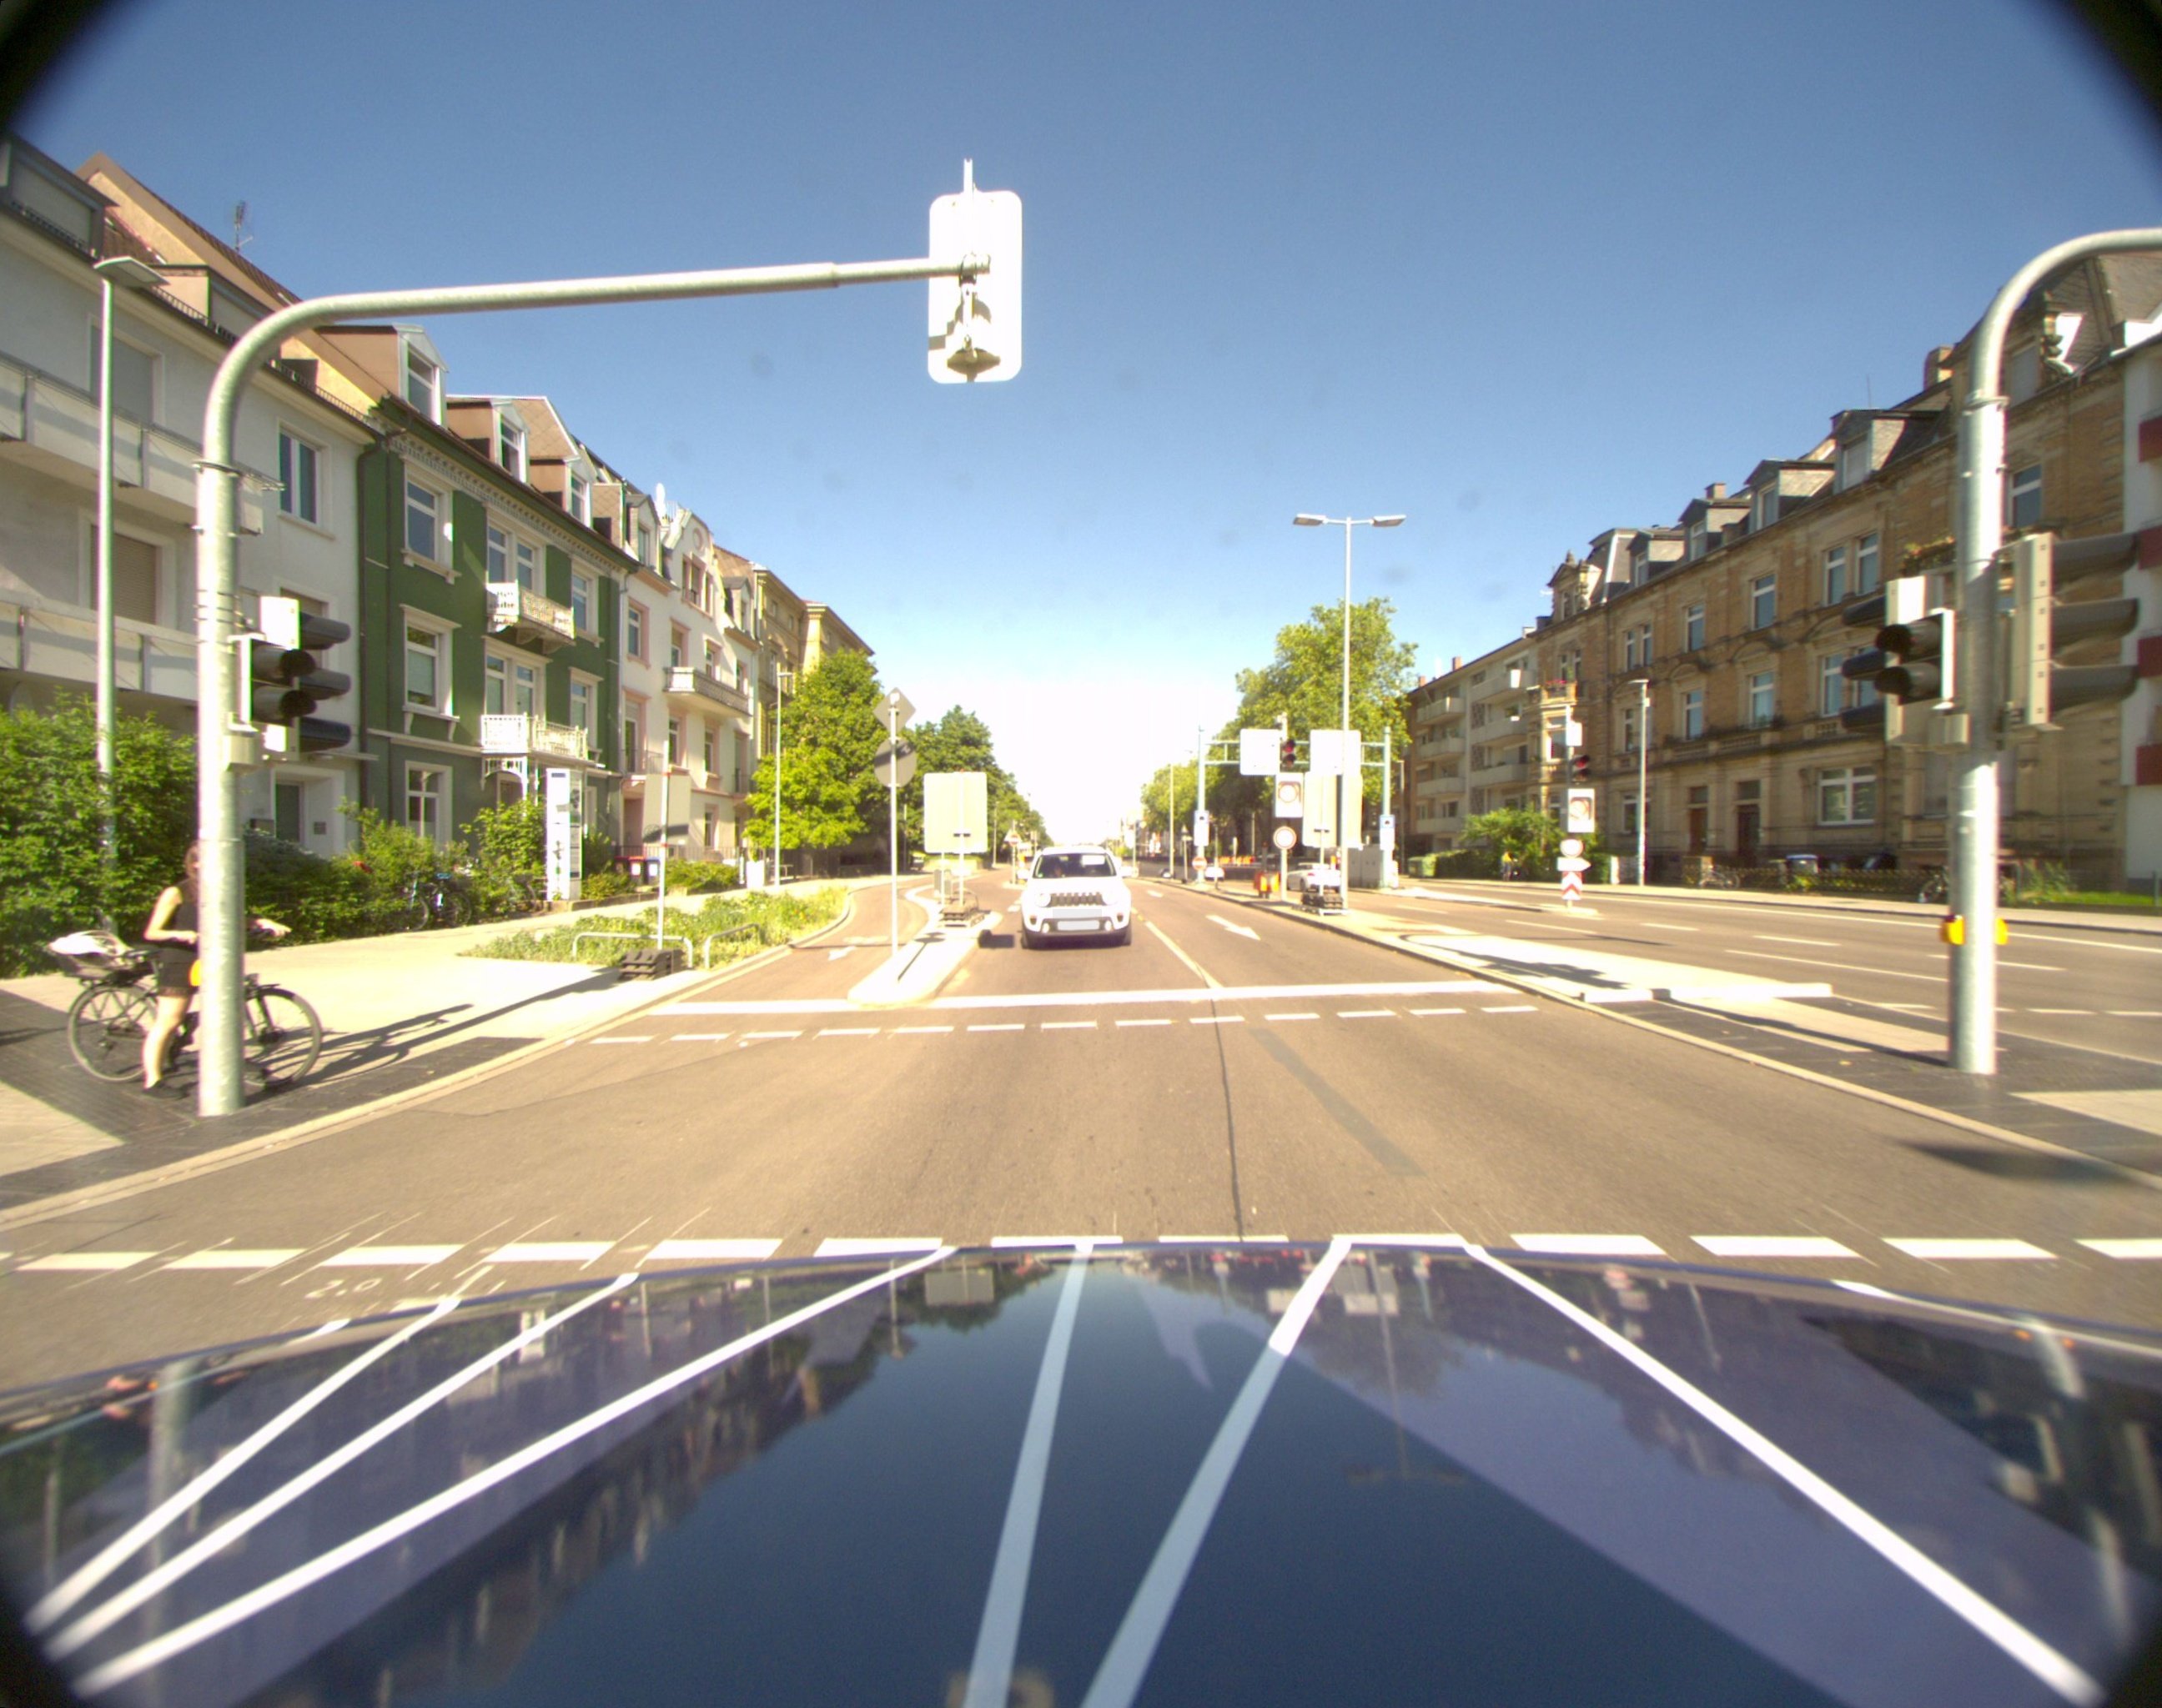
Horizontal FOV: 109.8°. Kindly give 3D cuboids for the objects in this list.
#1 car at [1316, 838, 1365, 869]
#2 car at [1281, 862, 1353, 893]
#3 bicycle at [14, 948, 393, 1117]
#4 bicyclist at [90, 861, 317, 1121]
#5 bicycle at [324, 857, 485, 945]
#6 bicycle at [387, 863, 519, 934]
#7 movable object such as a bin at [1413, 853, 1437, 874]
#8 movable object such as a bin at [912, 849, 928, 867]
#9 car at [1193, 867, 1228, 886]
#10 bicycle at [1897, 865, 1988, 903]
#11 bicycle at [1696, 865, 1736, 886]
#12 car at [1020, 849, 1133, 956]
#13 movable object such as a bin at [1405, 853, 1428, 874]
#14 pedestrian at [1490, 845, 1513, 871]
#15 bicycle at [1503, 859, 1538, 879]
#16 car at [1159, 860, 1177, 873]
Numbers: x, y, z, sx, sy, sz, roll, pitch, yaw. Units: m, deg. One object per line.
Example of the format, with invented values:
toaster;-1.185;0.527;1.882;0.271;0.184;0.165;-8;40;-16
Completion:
car;21.625;0.013;63.491;2.250;2.431;5.288;2;-1;1
car;10.872;1.035;35.282;1.936;1.337;4.316;0;0;-1
bicycle;-6.239;1.253;5.471;1.967;1.019;0.605;-2;0;-1
bicyclist;-6.186;0.903;5.413;0.605;1.698;0.858;0;1;0
bicycle;-12.177;0.787;13.833;0.710;1.435;2.491;-2;0;-1
bicycle;-13.507;0.938;16.392;2.261;1.476;0.638;0;0;-2
movable object such as a bin;22.737;0.620;50.247;0.895;1.352;1.474;2;-1;1
movable object such as a bin;-12.926;0.342;61.108;0.975;1.389;1.285;2;-1;-23
car;10.653;1.896;62.997;1.999;1.444;4.391;-3;-2;-2
bicycle;23.668;0.803;20.922;0.305;0.952;1.940;0;0;0
bicycle;23.656;0.788;28.325;0.299;0.766;1.414;0;0;0
car;-0.102;0.782;13.637;1.744;1.647;3.690;0;-1;-1
movable object such as a bin;22.793;0.634;51.641;0.895;1.354;1.314;2;-1;-1
pedestrian;22.867;0.229;41.330;0.568;1.369;1.090;0;0;-2
bicycle;23.409;0.786;40.510;0.468;0.999;2.250;-2;0;-2
car;10.586;1.507;92.817;1.611;1.432;4.310;3;0;-1
